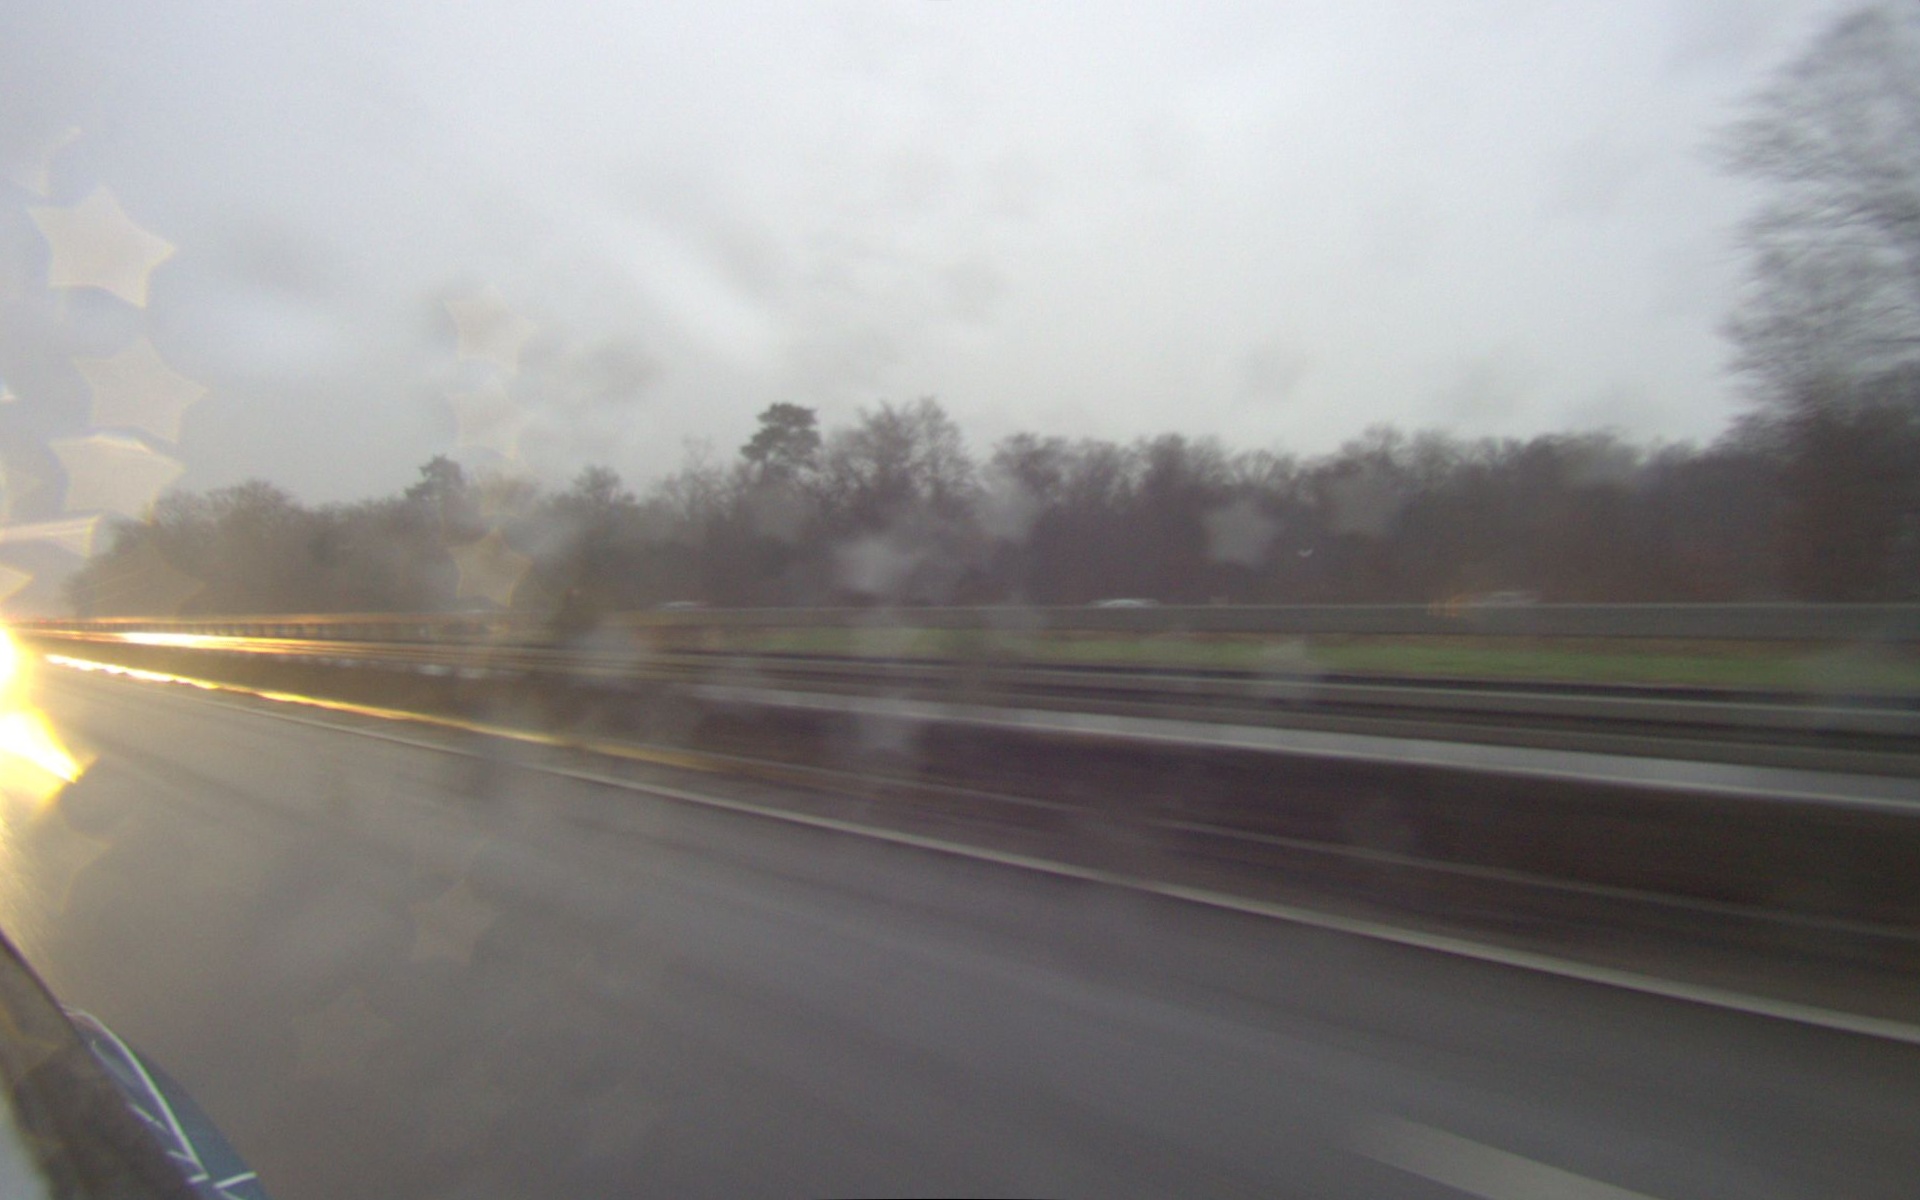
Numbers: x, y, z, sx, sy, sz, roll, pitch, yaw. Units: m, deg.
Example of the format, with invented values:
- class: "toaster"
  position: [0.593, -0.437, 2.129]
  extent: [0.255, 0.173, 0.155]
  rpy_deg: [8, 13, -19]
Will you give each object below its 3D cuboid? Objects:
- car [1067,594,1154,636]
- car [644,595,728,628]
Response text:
- class: "car"
  position: [7.660, 0.754, 51.820]
  extent: [4.151, 2.029, 1.777]
  rpy_deg: [-1, 0, 1]
- class: "car"
  position: [-14.983, 0.616, 55.436]
  extent: [3.959, 1.724, 1.992]
  rpy_deg: [-1, 0, 12]
